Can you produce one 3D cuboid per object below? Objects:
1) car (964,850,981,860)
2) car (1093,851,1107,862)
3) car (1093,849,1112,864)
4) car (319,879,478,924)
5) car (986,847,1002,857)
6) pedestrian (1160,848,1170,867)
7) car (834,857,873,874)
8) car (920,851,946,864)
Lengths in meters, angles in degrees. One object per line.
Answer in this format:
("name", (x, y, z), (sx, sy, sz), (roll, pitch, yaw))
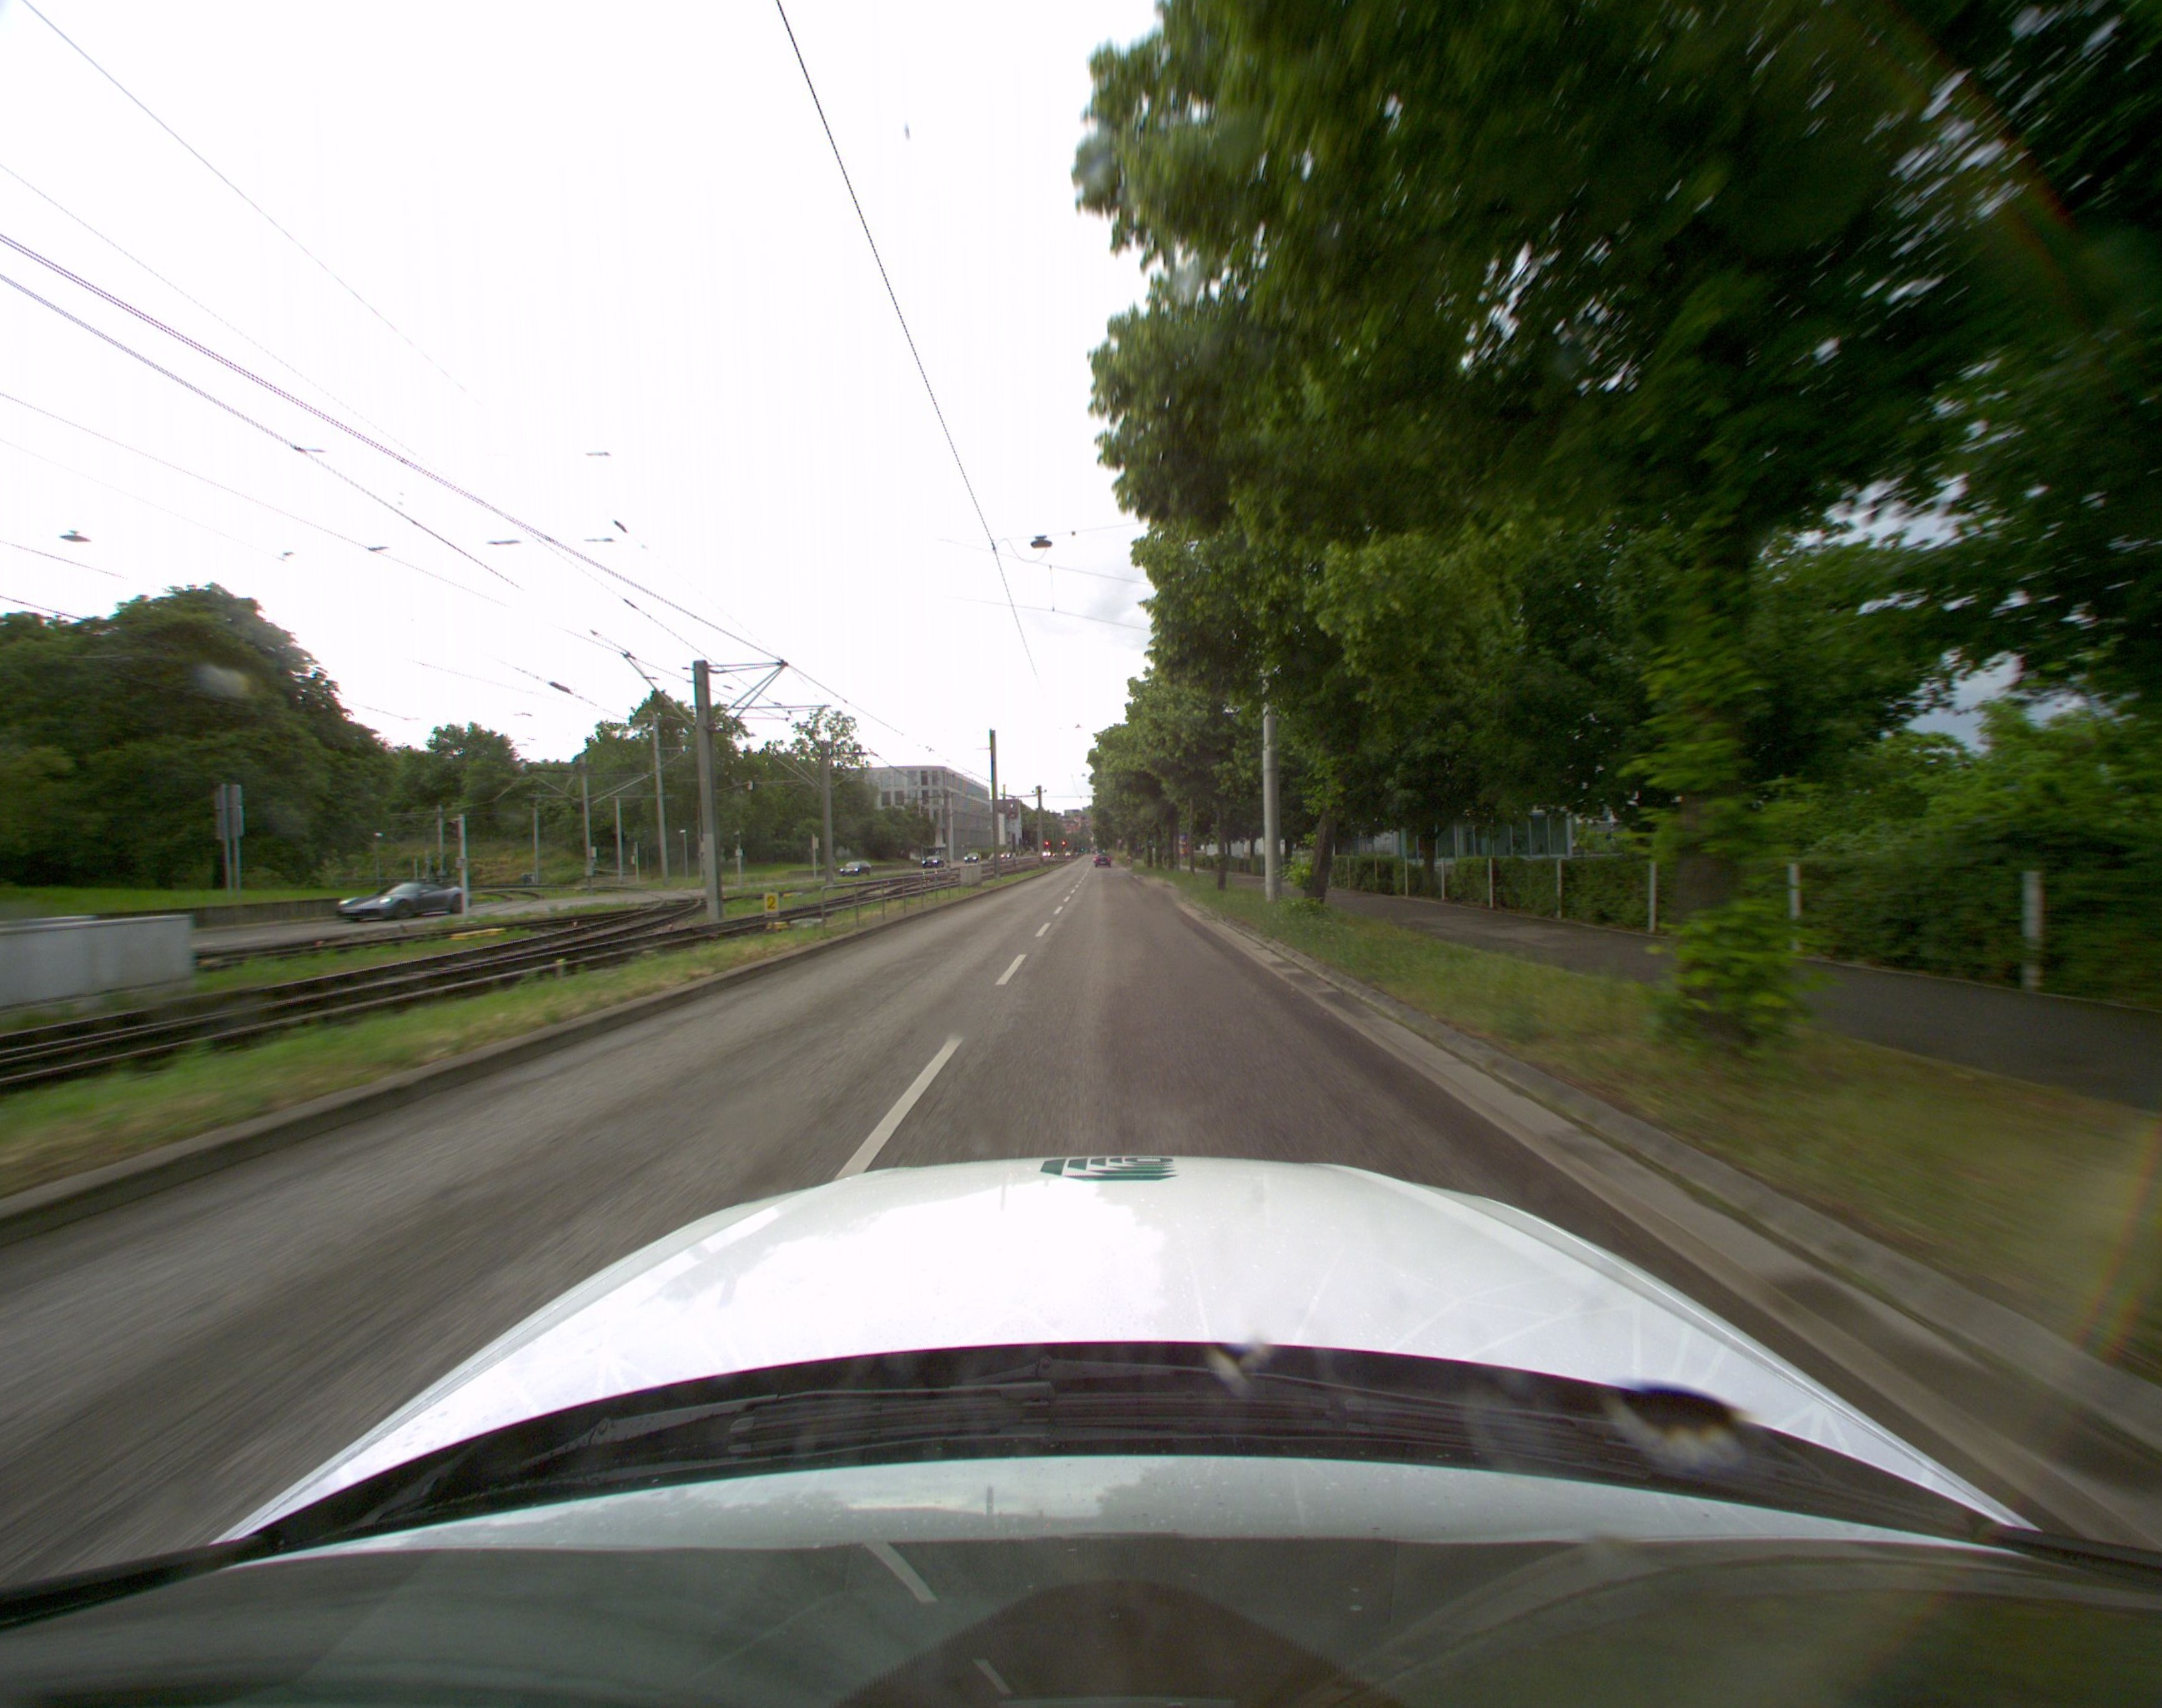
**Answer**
("car", (-17.713, 0.113, 133.056), (1.940, 1.595, 4.850), (-2, 0, 2))
("car", (2.783, 0.328, 119.092), (1.975, 1.440, 4.475), (-2, 0, 1))
("car", (2.305, 0.265, 87.078), (1.975, 1.440, 4.475), (-2, 0, 1))
("car", (-24.698, 1.664, 29.736), (1.920, 1.261, 4.474), (-2, 0, 1))
("car", (-14.828, -0.355, 138.886), (1.882, 1.486, 4.313), (-2, 0, 4))
("pedestrian", (8.104, 0.337, 78.416), (0.823, 1.797, 0.868), (-1, 0, 2))
("car", (-21.965, 1.123, 78.689), (1.917, 1.446, 4.691), (-2, 0, 7))
("car", (-19.376, 0.445, 106.874), (2.080, 1.589, 5.164), (-2, 0, 4))
